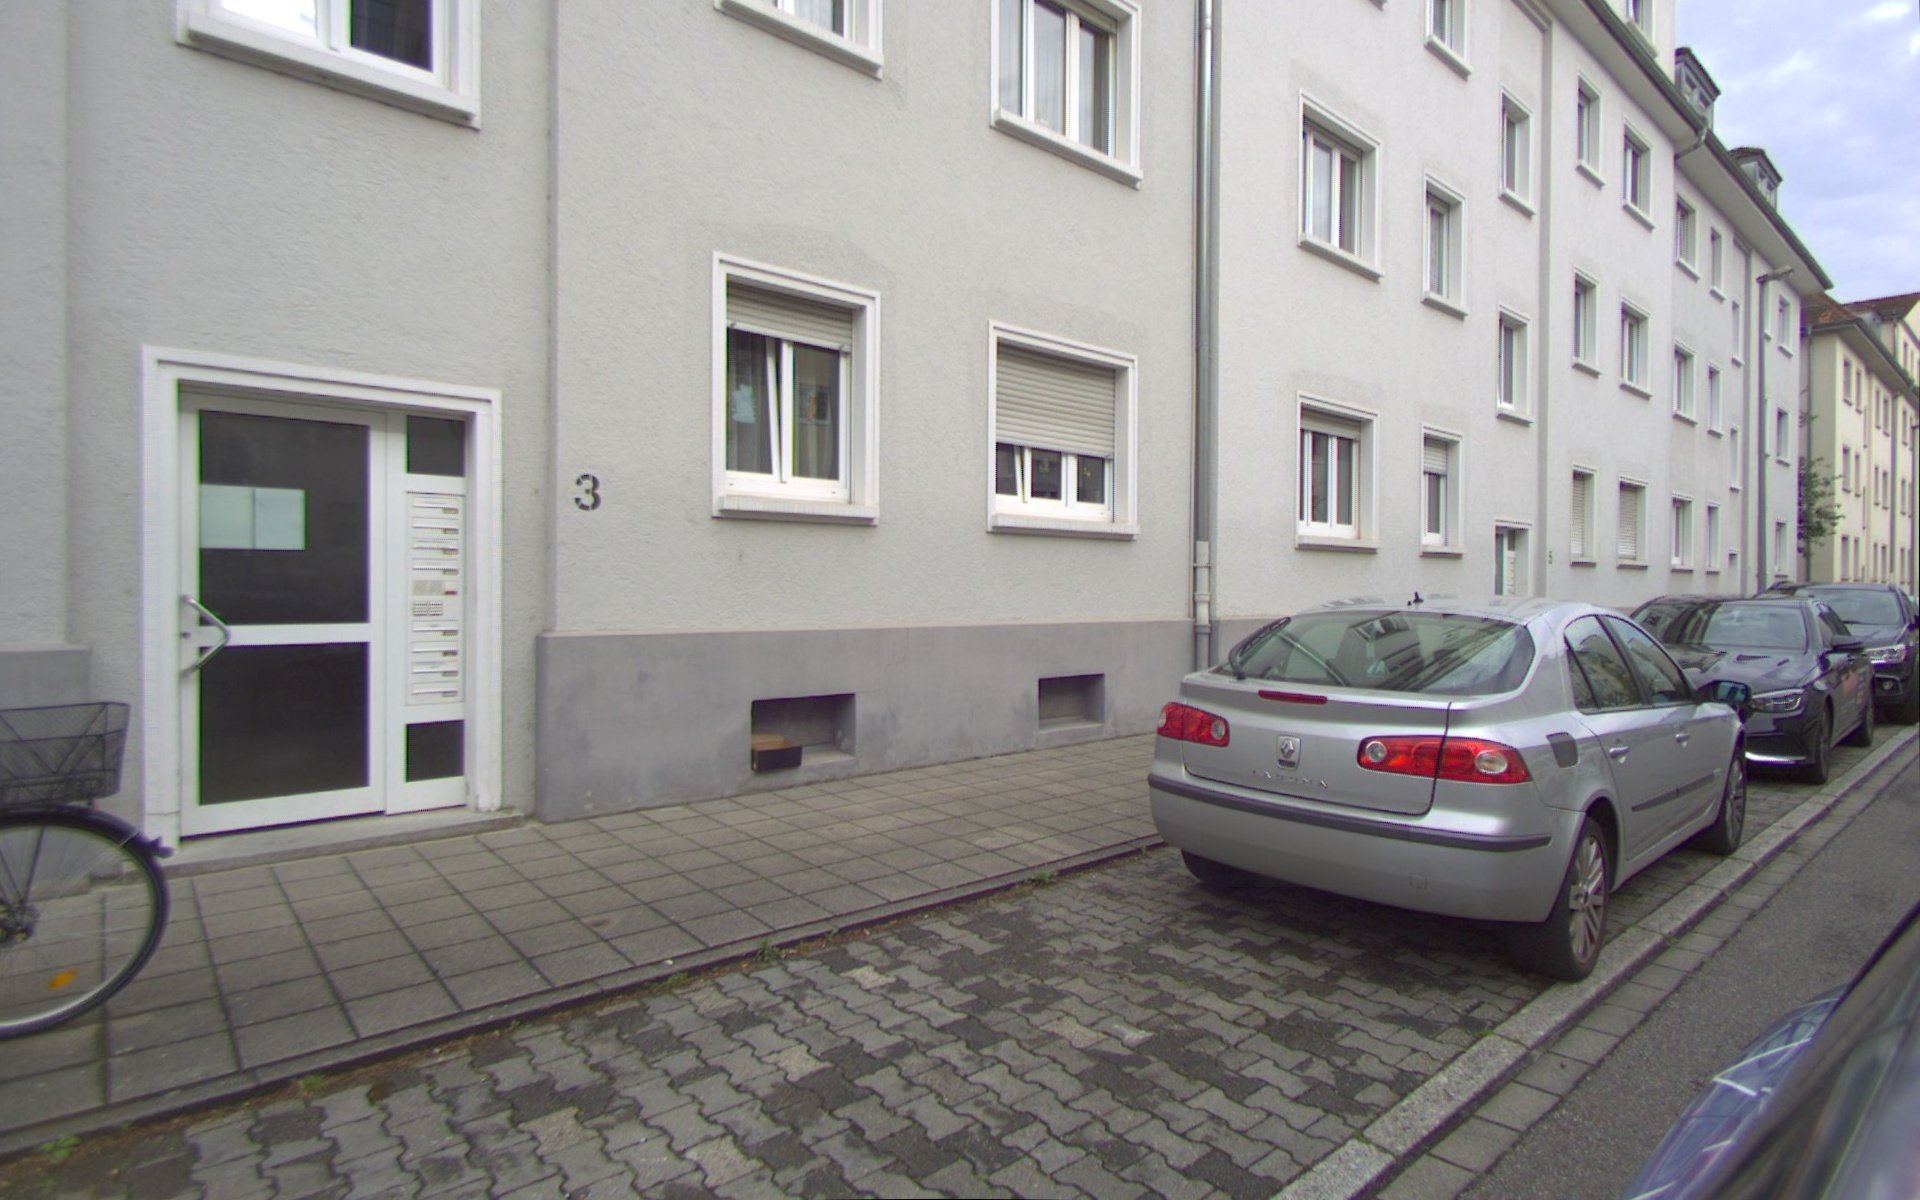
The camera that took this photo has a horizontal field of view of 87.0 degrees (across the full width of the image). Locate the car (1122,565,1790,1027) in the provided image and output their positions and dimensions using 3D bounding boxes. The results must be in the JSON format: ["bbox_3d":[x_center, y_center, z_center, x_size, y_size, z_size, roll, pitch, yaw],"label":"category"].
[{"bbox_3d":[2.905,0.602,5.367,4.355,1.481,1.735,0,1,-43],"label":"car"}]

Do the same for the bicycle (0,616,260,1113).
[{"bbox_3d":[-2.968,0.683,2.589,1.862,1.215,0.750,0,2,-41],"label":"bicycle"}]

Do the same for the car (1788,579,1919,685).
[{"bbox_3d":[14.690,0.441,16.121,3.691,1.505,1.735,0,1,-41],"label":"car"}]

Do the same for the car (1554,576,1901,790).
[{"bbox_3d":[7.054,0.555,9.129,4.250,1.481,1.784,0,1,-43],"label":"car"}]

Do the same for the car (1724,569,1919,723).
[{"bbox_3d":[11.133,0.463,12.630,4.090,1.619,1.850,0,1,-43],"label":"car"}]
